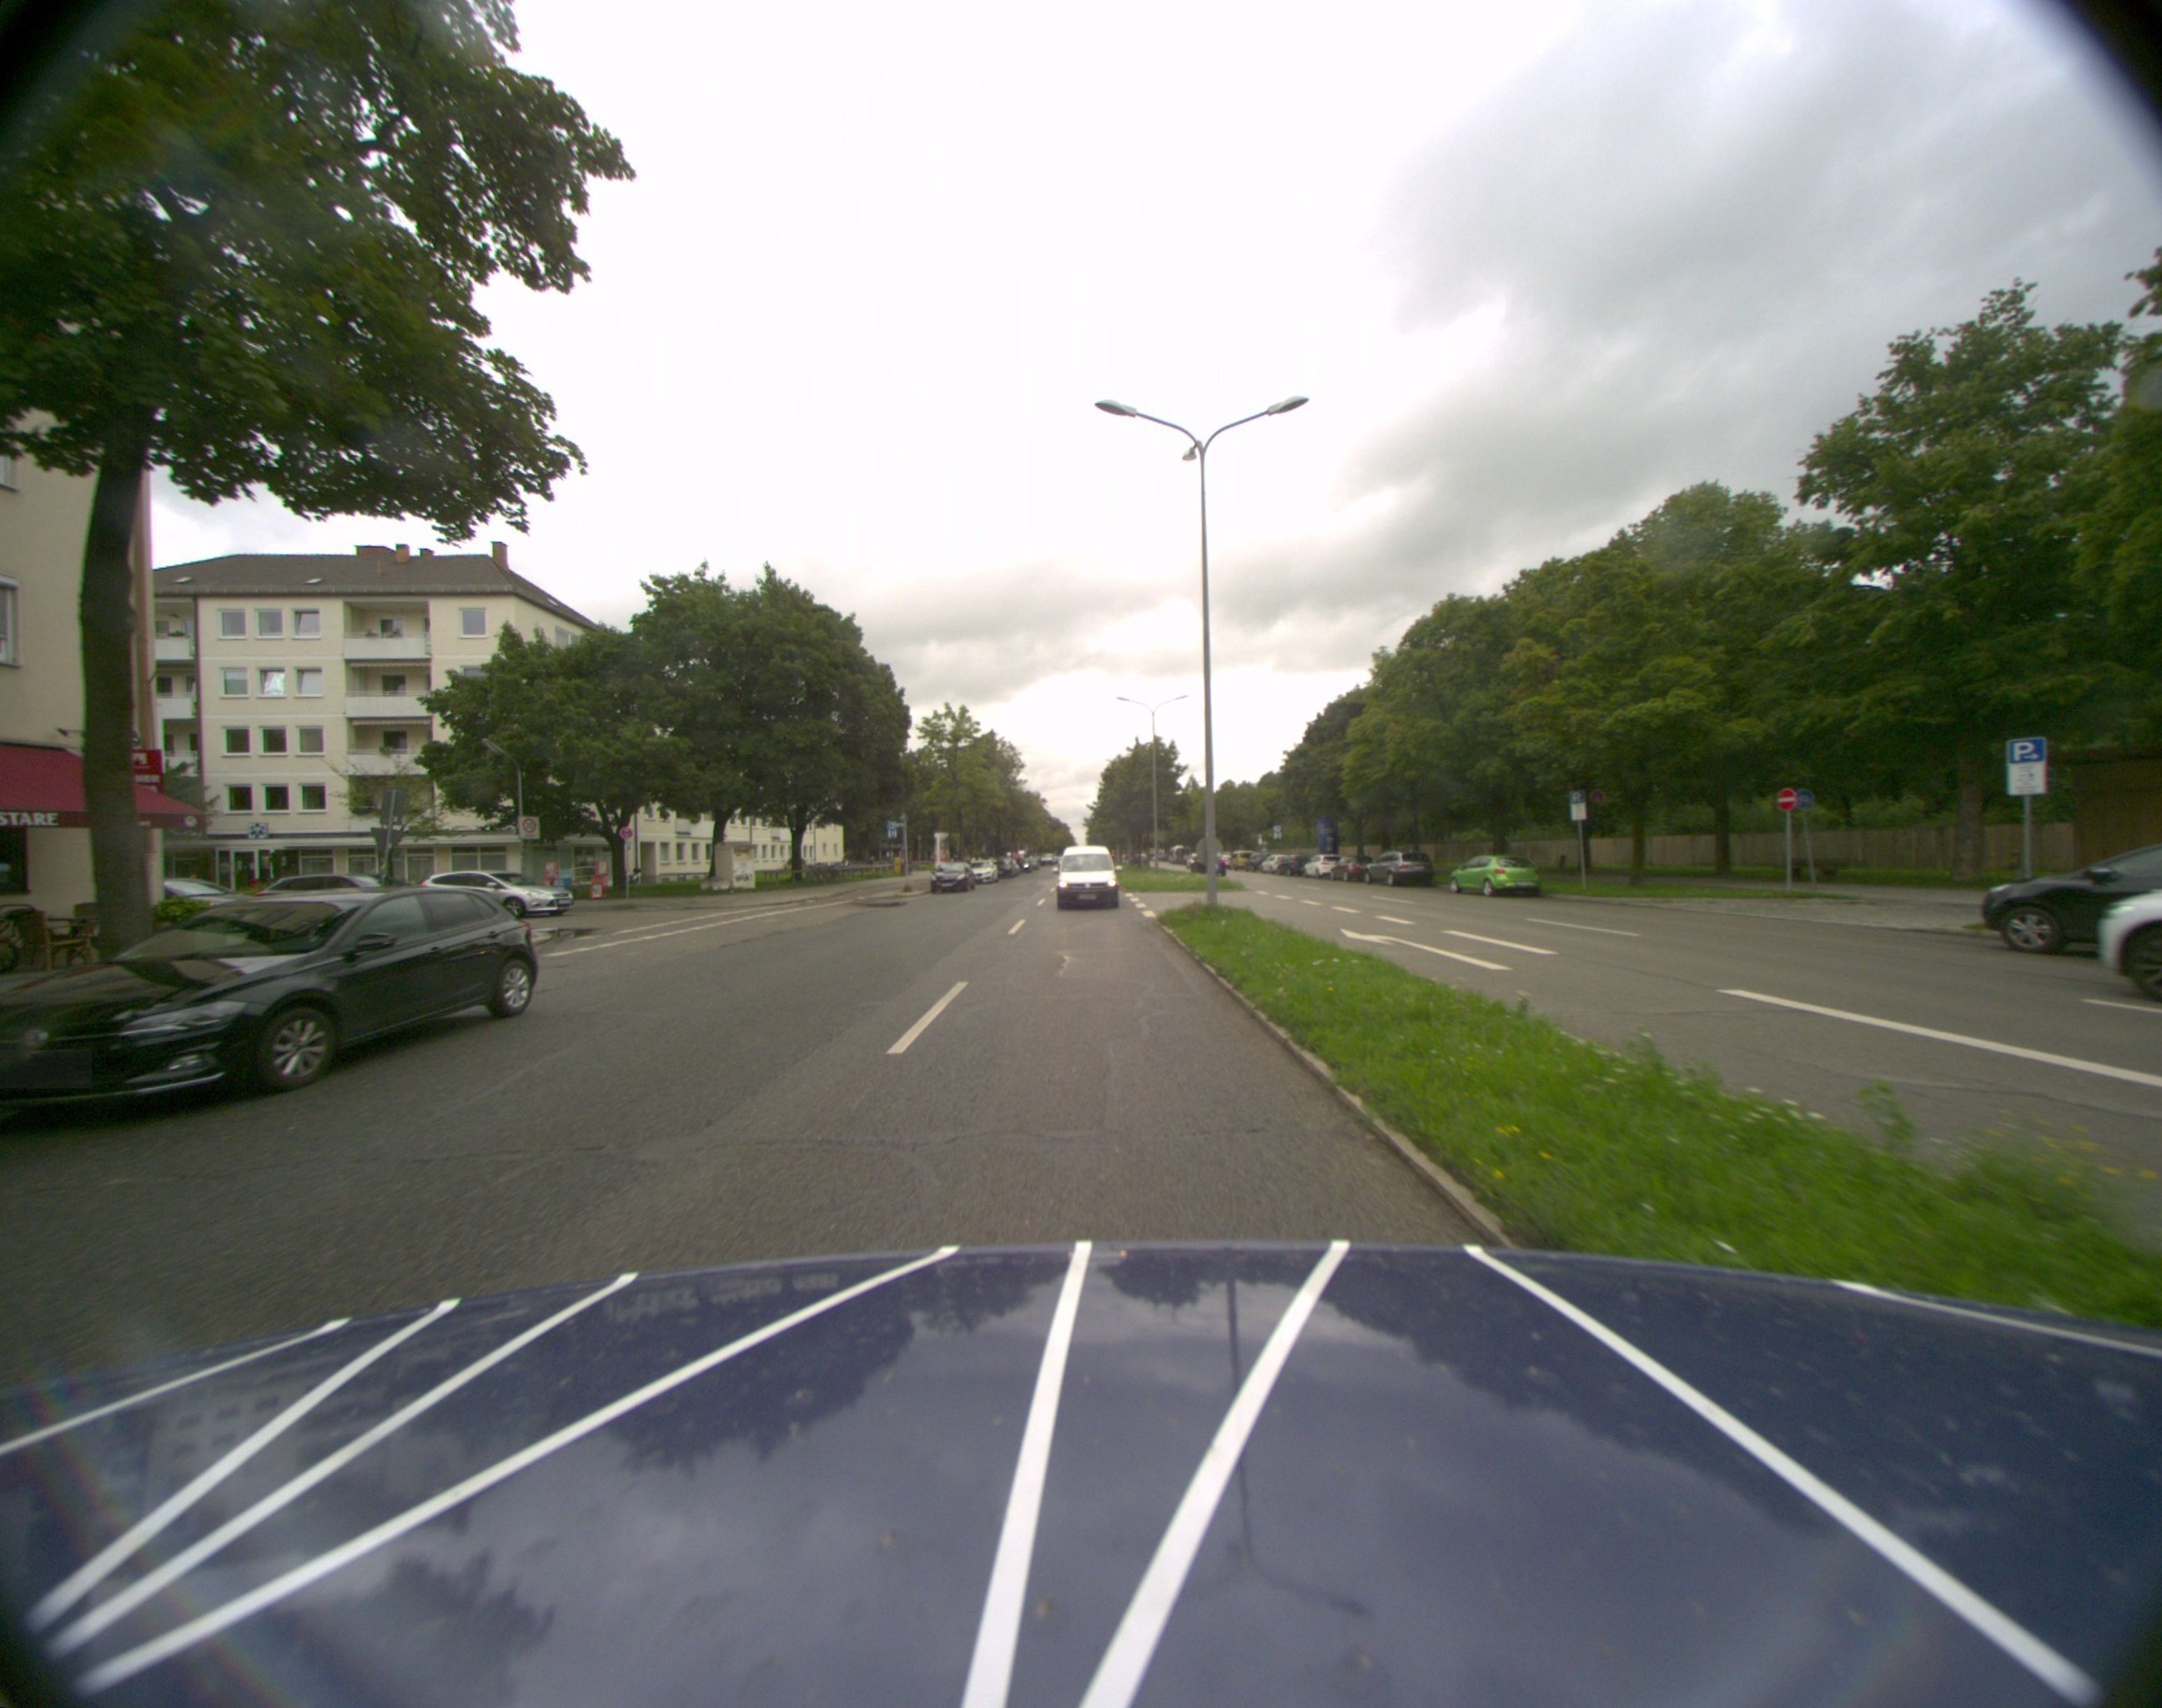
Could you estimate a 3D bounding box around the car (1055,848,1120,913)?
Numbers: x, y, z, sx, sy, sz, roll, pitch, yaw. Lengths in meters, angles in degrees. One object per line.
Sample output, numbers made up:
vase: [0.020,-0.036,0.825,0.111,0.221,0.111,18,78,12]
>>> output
car: [0.203,0.747,23.872,1.772,1.742,4.545,-3,0,0]

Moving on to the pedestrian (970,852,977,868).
pedestrian: [-11.405,0.641,80.440,0.560,1.595,0.519,-2,1,-19]

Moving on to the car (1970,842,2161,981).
car: [14.394,0.728,9.382,1.826,1.690,4.238,-1,1,-1]

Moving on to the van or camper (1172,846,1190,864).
van or camper: [15.692,0.086,119.055,1.999,2.791,4.931,0,0,-2]

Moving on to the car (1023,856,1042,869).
car: [-5.583,0.981,87.953,1.827,1.460,4.300,-2,0,1]

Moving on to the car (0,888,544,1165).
car: [-6.697,1.138,6.504,1.835,1.464,3.885,-1,0,-9]

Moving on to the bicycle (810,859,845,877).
bicycle: [-16.286,0.905,48.863,2.032,1.061,0.663,-1,1,-4]

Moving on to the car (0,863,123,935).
car: [-30.657,1.271,21.275,4.997,1.874,2.000,-1,1,-1]

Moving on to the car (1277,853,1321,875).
car: [14.883,0.648,52.135,1.826,1.438,3.787,1,0,-2]

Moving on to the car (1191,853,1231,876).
car: [8.647,0.652,50.920,1.820,1.440,4.781,0,0,0]

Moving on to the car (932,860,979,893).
car: [-6.044,1.040,36.900,1.648,1.468,3.956,-2,0,-1]

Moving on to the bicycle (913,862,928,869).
bicycle: [-15.746,1.136,74.457,1.392,0.709,0.498,1,1,-4]

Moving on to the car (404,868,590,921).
car: [-17.823,1.216,23.334,4.217,1.434,2.000,-1,0,4]

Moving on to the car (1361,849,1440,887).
car: [14.794,0.604,35.423,1.826,1.621,4.456,0,0,0]

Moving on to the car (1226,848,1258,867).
car: [14.808,0.302,69.946,1.862,1.761,4.533,0,0,-2]

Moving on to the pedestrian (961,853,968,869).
pedestrian: [-12.325,0.745,80.305,0.560,1.745,0.656,-2,1,-19]

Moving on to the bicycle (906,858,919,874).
bicycle: [-13.360,0.920,60.245,0.545,1.182,2.076,-1,0,1]

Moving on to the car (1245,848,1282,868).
car: [15.237,0.344,63.611,2.007,1.607,4.040,0,0,-2]

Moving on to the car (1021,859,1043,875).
car: [-4.699,1.229,73.614,1.827,1.371,4.300,-2,0,-1]

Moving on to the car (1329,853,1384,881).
car: [14.854,0.687,41.150,1.654,1.414,3.687,1,0,1]

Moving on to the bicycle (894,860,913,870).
bicycle: [-16.314,1.033,69.838,1.599,0.910,0.498,0,1,-4]

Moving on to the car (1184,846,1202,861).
car: [15.662,-0.052,106.459,1.998,2.002,4.000,-1,0,0]

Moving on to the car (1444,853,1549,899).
car: [14.674,0.729,27.077,1.644,1.490,4.000,0,0,2]

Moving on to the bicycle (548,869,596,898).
bicycle: [-20.862,1.202,31.162,1.473,1.149,0.699,-1,1,-1]

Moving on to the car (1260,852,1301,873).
car: [15.062,0.611,57.578,1.826,1.461,4.300,0,0,-2]

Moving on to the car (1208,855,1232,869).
car: [14.715,0.853,80.442,1.717,1.434,4.041,0,0,-2]

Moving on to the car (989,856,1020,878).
car: [-5.718,0.938,57.405,1.826,1.502,4.157,-2,0,0]

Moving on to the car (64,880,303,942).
car: [-24.149,1.509,20.588,3.997,1.434,2.000,-1,0,-1]

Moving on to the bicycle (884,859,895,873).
bicycle: [-15.476,0.978,61.468,0.466,1.110,1.253,-1,1,1]

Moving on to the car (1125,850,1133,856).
car: [12.675,-0.242,200.125,1.866,1.659,4.500,1,0,0]

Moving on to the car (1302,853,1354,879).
car: [15.009,0.669,46.351,1.826,1.468,4.260,1,0,1]

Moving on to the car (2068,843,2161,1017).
car: [11.032,0.716,5.370,2.030,1.610,4.683,0,0,1]

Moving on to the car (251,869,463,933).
car: [-19.347,1.215,20.434,3.935,1.511,1.730,-1,1,-1]

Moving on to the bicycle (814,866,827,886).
bicycle: [-13.710,1.131,40.002,0.449,1.009,1.850,-2,0,-15]

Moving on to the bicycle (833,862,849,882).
bicycle: [-13.583,1.002,43.048,0.470,1.049,1.767,1,1,-4]

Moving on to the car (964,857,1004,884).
car: [-6.006,1.000,47.409,1.826,1.428,4.287,-3,0,1]

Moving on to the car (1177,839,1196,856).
car: [15.788,-0.936,113.976,1.999,2.576,4.499,0,0,-2]

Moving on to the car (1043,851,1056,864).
car: [-5.207,0.587,125.736,1.827,1.939,4.300,-2,0,1]

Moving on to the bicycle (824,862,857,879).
bicycle: [-16.434,1.136,51.875,2.032,1.061,0.663,-1,1,-4]

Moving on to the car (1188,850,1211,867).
car: [11.653,0.423,74.960,1.826,1.544,3.721,-1,0,2]

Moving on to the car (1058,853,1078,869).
car: [-1.319,0.759,80.999,1.984,1.591,4.402,1,0,1]

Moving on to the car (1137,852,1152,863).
car: [9.349,0.556,112.336,1.826,1.580,4.501,-1,0,1]

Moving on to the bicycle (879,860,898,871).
bicycle: [-17.062,1.030,67.340,1.599,0.910,0.498,-1,1,-4]

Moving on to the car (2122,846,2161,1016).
car: [11.000,0.744,5.143,1.855,1.591,4.402,1,0,1]

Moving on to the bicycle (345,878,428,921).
bicycle: [-16.993,1.111,18.609,1.543,1.005,0.554,-1,1,4]

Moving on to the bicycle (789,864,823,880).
bicycle: [-18.771,1.223,51.916,2.032,1.061,0.663,-1,1,-4]
